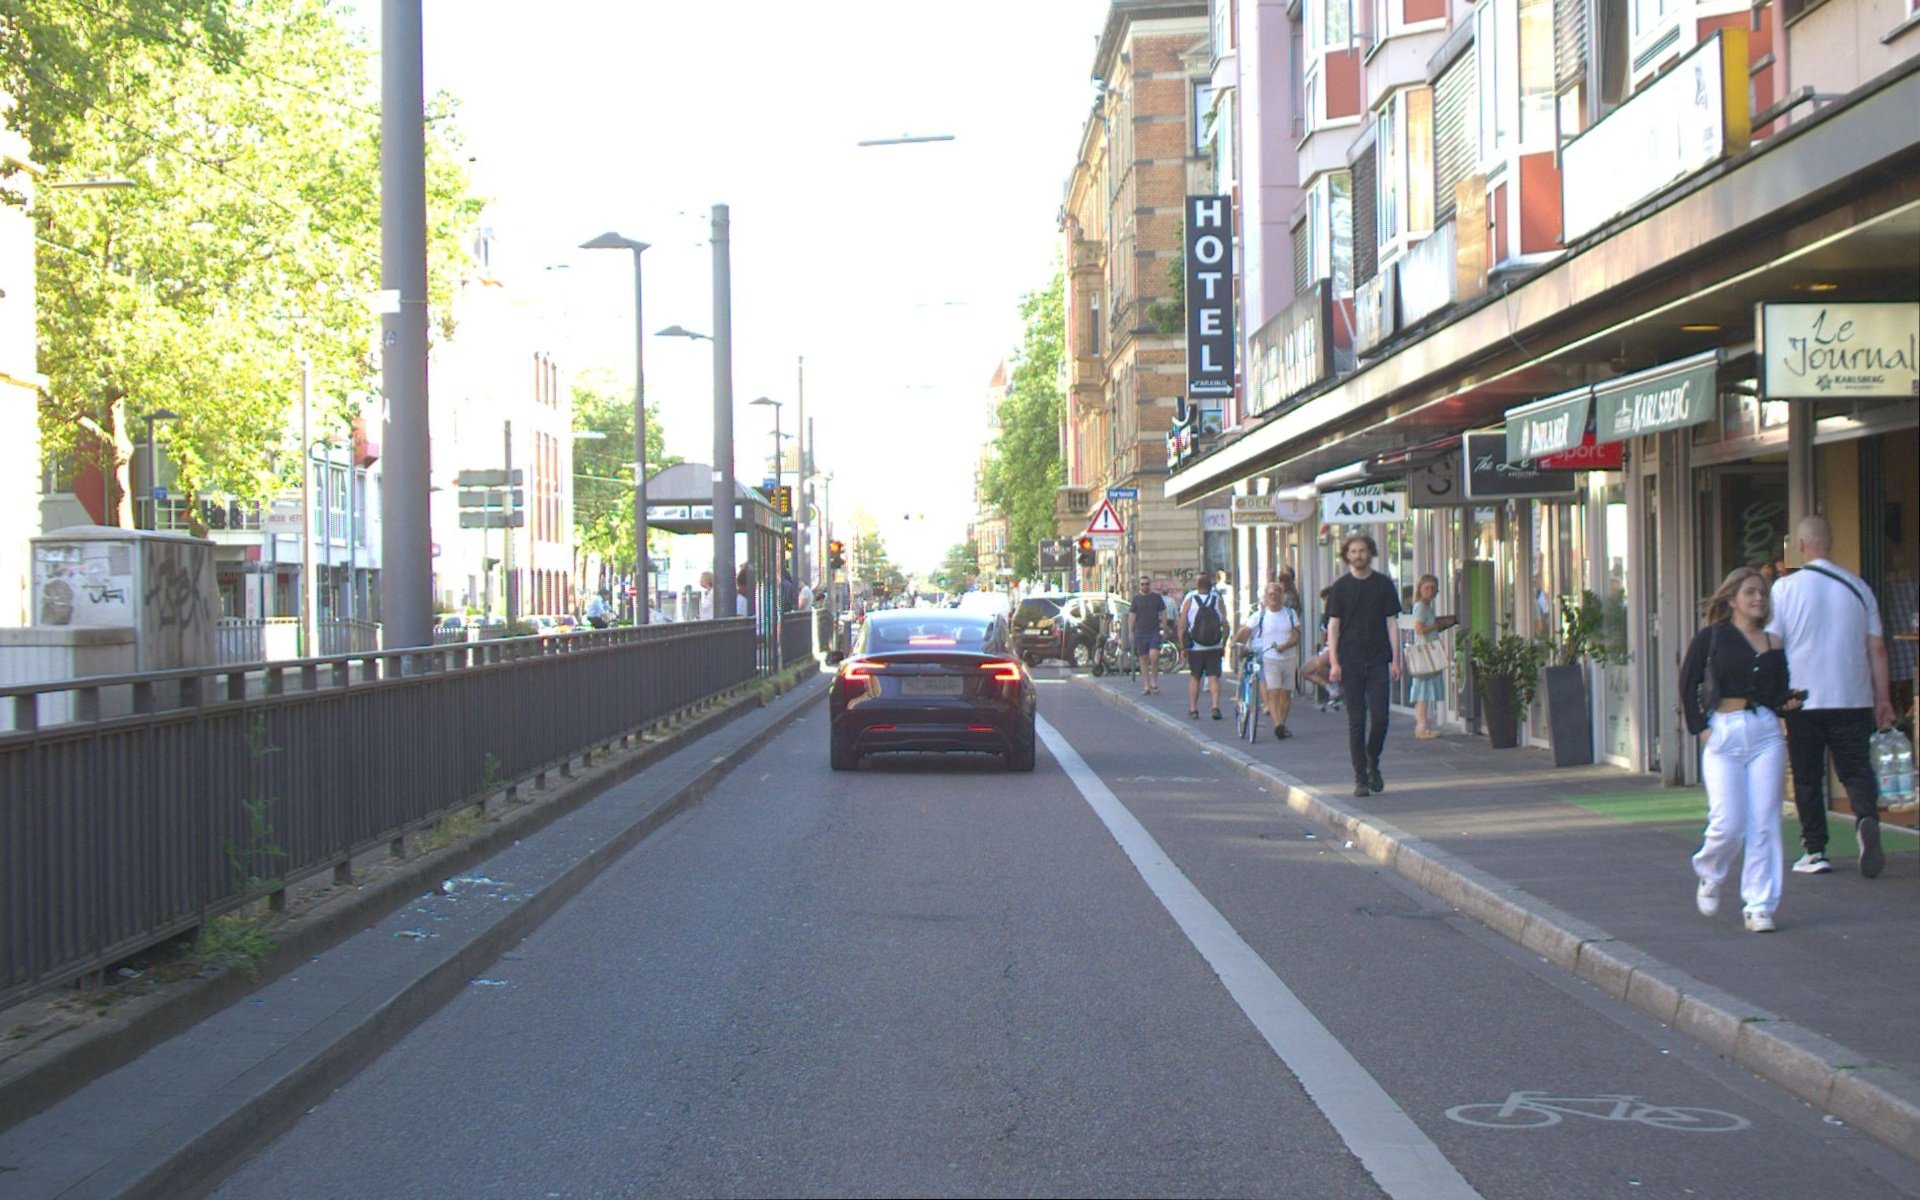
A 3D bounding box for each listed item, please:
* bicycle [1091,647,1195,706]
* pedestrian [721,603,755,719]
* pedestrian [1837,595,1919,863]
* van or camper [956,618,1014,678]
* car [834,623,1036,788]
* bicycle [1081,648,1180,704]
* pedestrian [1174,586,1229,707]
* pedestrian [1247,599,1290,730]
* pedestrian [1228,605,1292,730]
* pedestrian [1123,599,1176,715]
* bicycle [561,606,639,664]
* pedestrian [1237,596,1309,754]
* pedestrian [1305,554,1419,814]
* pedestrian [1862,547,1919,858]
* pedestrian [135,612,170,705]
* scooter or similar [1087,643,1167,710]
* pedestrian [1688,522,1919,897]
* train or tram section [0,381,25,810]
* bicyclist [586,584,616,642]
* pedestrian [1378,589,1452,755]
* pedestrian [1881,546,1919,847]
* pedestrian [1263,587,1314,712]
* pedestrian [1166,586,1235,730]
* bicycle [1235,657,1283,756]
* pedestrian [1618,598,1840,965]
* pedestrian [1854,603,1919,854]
[{"bbox_3d":[3.555,1.489,66.858,1.945,1.103,0.564,-1,-1,-2],"label":"bicycle"},{"bbox_3d":[-3.029,0.825,46.882,0.424,1.568,0.448,0,-1,0],"label":"pedestrian"},{"bbox_3d":[5.705,0.787,21.140,0.516,1.627,0.521,0,-1,5],"label":"pedestrian"},{"bbox_3d":[0.864,1.738,122.588,1.931,2.030,5.475,1,-1,-1],"label":"van or camper"},{"bbox_3d":[-0.259,0.926,31.574,1.719,1.400,3.710,1,0,-1],"label":"car"},{"bbox_3d":[3.444,1.538,69.534,1.945,1.103,0.564,-1,-1,-2],"label":"bicycle"},{"bbox_3d":[3.690,0.708,52.563,0.706,1.814,0.763,-3,-1,0],"label":"pedestrian"},{"bbox_3d":[4.399,0.915,49.051,0.451,1.843,0.812,-1,-1,-2],"label":"pedestrian"},{"bbox_3d":[3.652,0.816,41.898,0.636,1.478,0.654,-3,-1,-1],"label":"pedestrian"},{"bbox_3d":[2.879,0.864,52.332,0.667,1.723,0.810,-3,-1,-1],"label":"pedestrian"},{"bbox_3d":[-9.521,0.927,90.911,1.948,1.511,0.635,1,-1,-15],"label":"bicycle"},{"bbox_3d":[3.276,0.779,35.996,0.663,1.625,0.705,-1,0,-1],"label":"pedestrian"},{"bbox_3d":[2.945,0.608,25.272,0.675,1.855,0.992,-2,-1,1],"label":"pedestrian"},{"bbox_3d":[5.303,0.527,18.378,0.726,1.630,0.639,-2,-1,1],"label":"pedestrian"},{"bbox_3d":[-17.598,1.271,74.910,0.700,2.007,0.689,0,-1,-10],"label":"pedestrian"},{"bbox_3d":[3.213,1.465,66.203,1.478,1.225,0.591,-2,-1,0],"label":"scooter or similar"},{"bbox_3d":[4.267,0.535,17.214,0.906,1.769,1.050,-3,-1,0],"label":"pedestrian"},{"bbox_3d":[-9.615,-0.048,21.528,2.974,3.632,16.485,1,0,0],"label":"train or tram section"},{"bbox_3d":[-9.503,0.340,90.920,0.679,1.511,0.635,1,-1,-15],"label":"bicyclist"},{"bbox_3d":[4.413,0.693,33.378,0.600,1.585,0.554,-1,-1,0],"label":"pedestrian"},{"bbox_3d":[5.693,0.526,19.314,0.772,1.669,0.696,-2,-1,-1],"label":"pedestrian"},{"bbox_3d":[4.692,0.704,49.116,0.629,1.763,0.501,-1,-1,0],"label":"pedestrian"},{"bbox_3d":[2.925,0.706,41.837,0.744,1.721,0.814,1,-1,0],"label":"pedestrian"},{"bbox_3d":[3.120,1.103,35.992,0.302,0.986,1.760,-1,0,-1],"label":"bicycle"},{"bbox_3d":[3.320,0.770,14.904,0.665,1.516,0.789,-3,0,-4],"label":"pedestrian"},{"bbox_3d":[6.020,0.817,22.052,0.456,1.598,0.464,0,-1,3],"label":"pedestrian"}]
